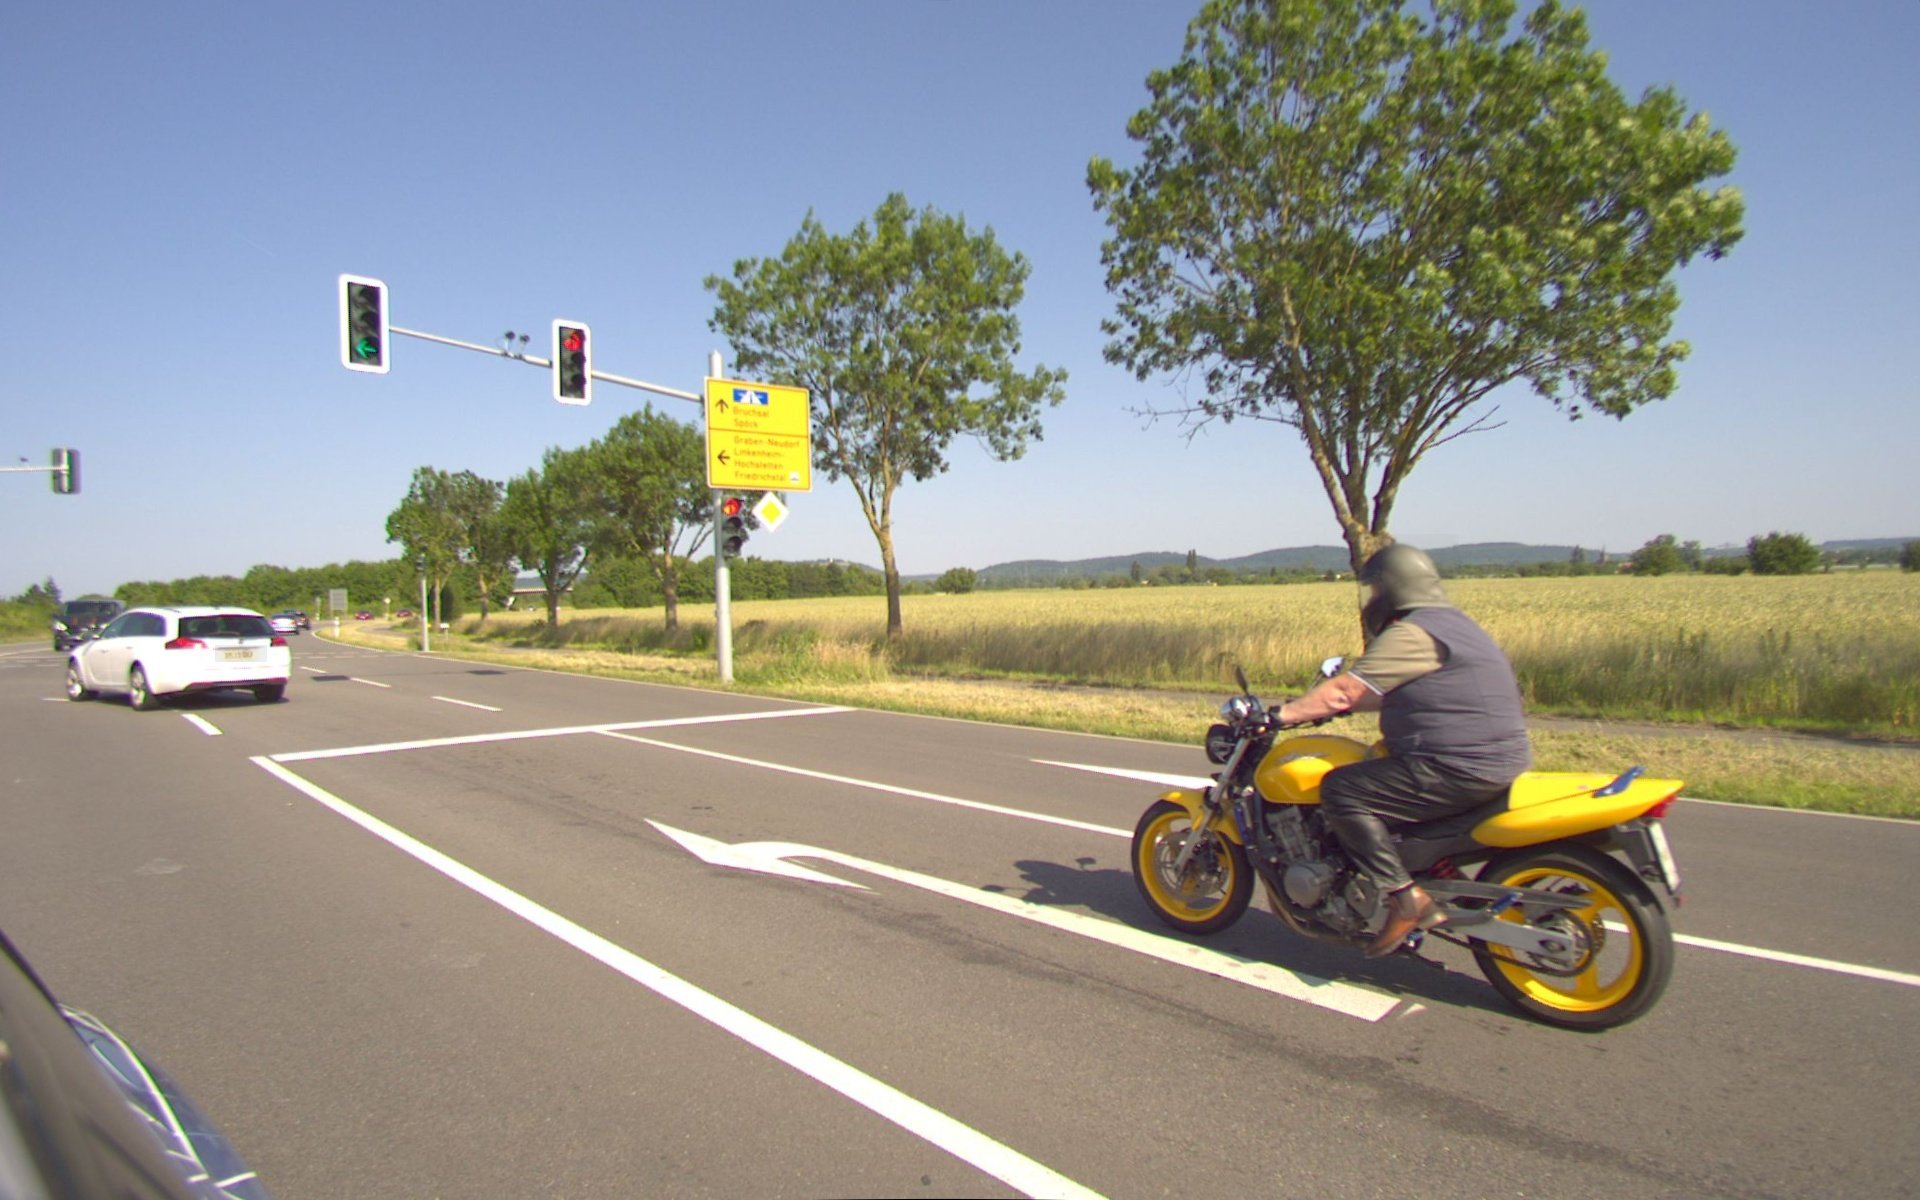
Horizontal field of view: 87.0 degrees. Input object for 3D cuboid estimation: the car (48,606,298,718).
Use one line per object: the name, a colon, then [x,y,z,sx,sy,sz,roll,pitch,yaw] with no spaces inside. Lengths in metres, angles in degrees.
car: [-12.366,0.878,15.803,4.696,1.503,1.745,-1,-1,34]

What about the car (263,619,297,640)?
car: [-45.194,1.939,67.275,1.608,1.387,4.432,1,-2,-37]

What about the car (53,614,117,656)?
car: [-34.874,1.365,40.411,1.833,1.554,4.007,-1,0,-40]

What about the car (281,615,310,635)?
car: [-56.973,2.159,86.814,1.858,1.638,4.012,1,-2,-30]

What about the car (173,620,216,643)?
car: [-53.586,2.180,70.893,1.831,1.554,4.013,-1,0,-29]

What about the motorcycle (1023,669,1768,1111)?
motorcycle: [1.467,0.846,3.836,2.428,1.051,0.887,-2,0,43]

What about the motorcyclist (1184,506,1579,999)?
motorcyclist: [1.547,0.477,3.790,1.181,1.527,0.671,-2,0,43]
